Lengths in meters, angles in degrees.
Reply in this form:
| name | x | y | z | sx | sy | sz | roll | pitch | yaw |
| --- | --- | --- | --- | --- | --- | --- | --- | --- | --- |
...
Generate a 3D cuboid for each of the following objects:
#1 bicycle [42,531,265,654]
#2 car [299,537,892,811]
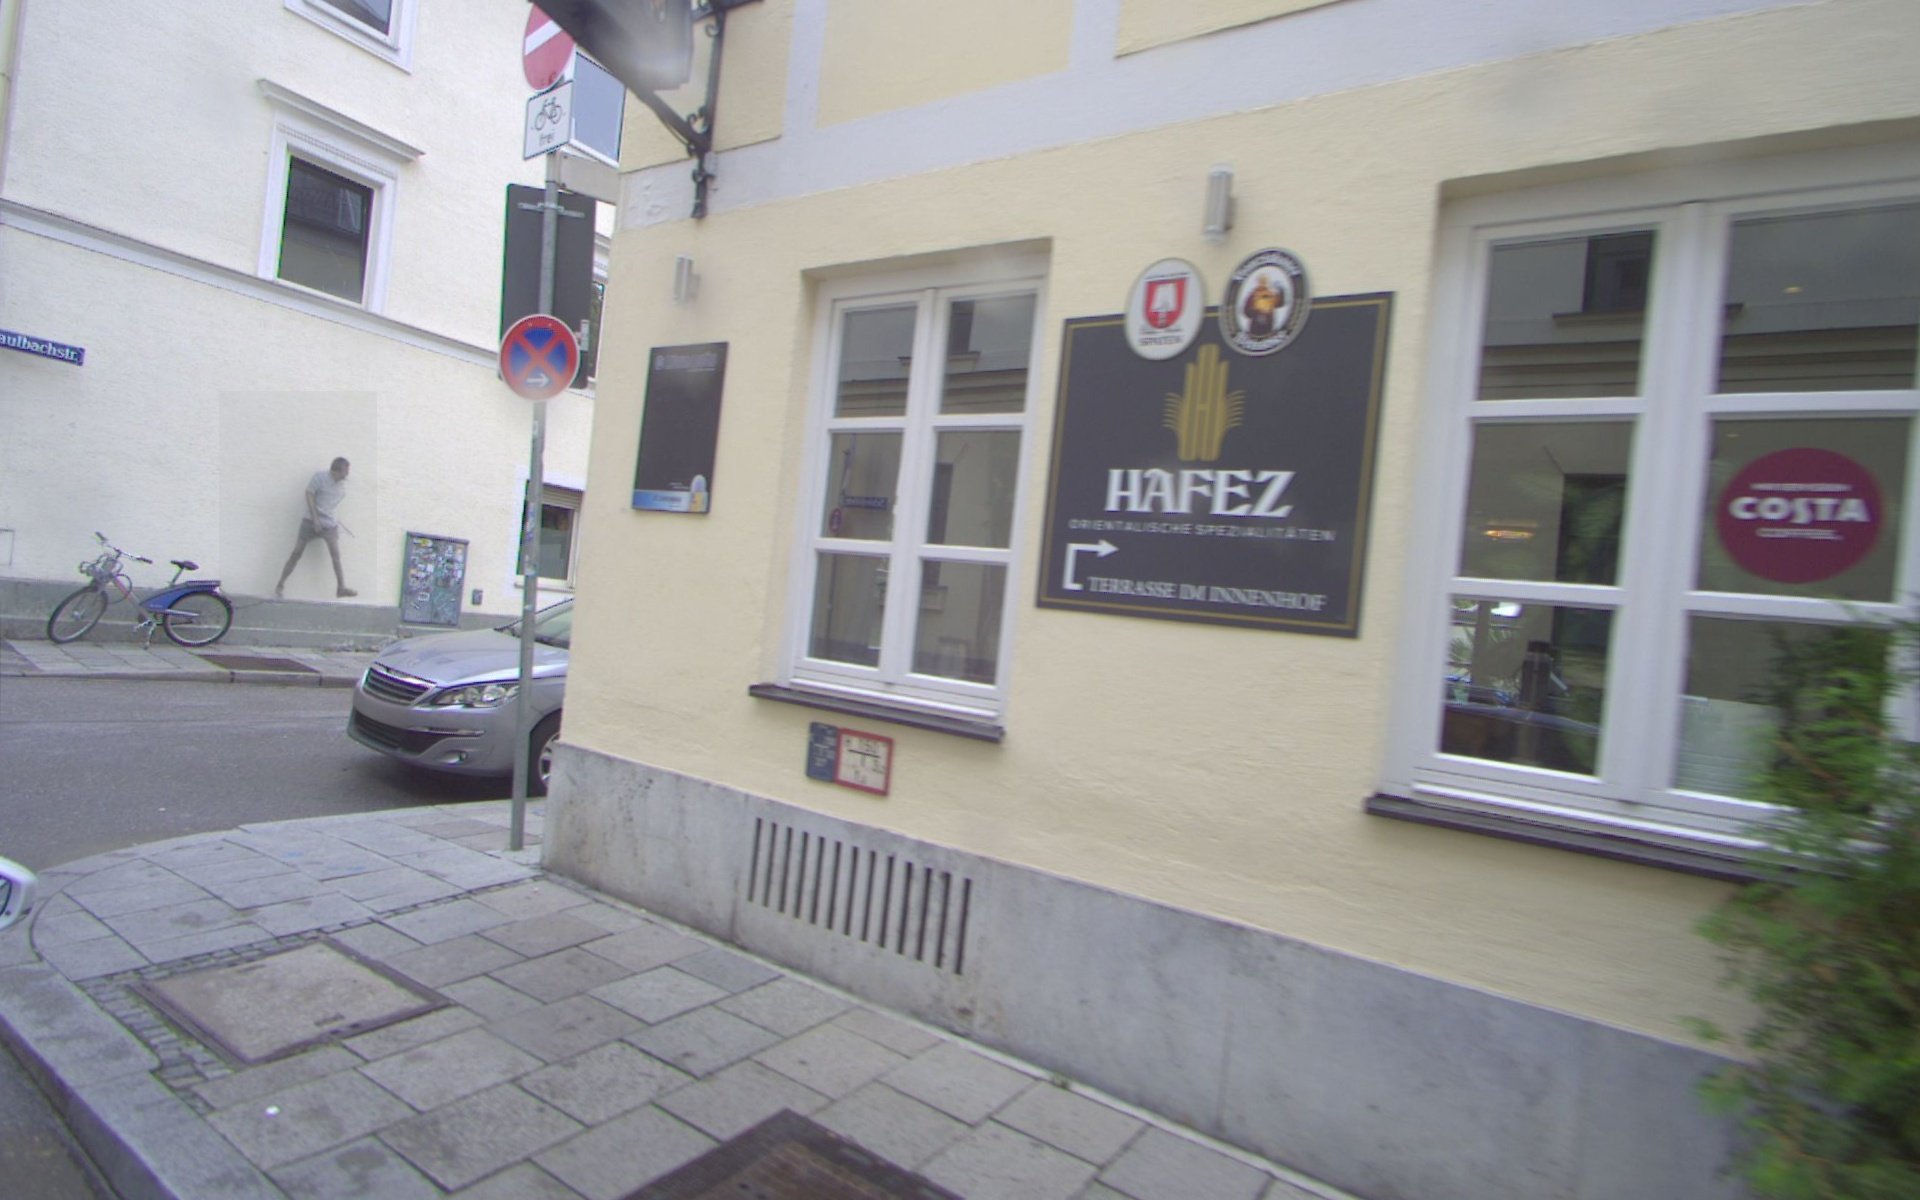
| name | x | y | z | sx | sy | sz | roll | pitch | yaw |
| --- | --- | --- | --- | --- | --- | --- | --- | --- | --- |
| bicycle | -8.863 | -0.046 | 11.133 | 0.576 | 1.158 | 1.758 | 9 | 2 | 34 |
| car | -2.554 | 0.594 | 7.957 | 1.737 | 1.458 | 4.018 | 9 | 0 | 35 |
